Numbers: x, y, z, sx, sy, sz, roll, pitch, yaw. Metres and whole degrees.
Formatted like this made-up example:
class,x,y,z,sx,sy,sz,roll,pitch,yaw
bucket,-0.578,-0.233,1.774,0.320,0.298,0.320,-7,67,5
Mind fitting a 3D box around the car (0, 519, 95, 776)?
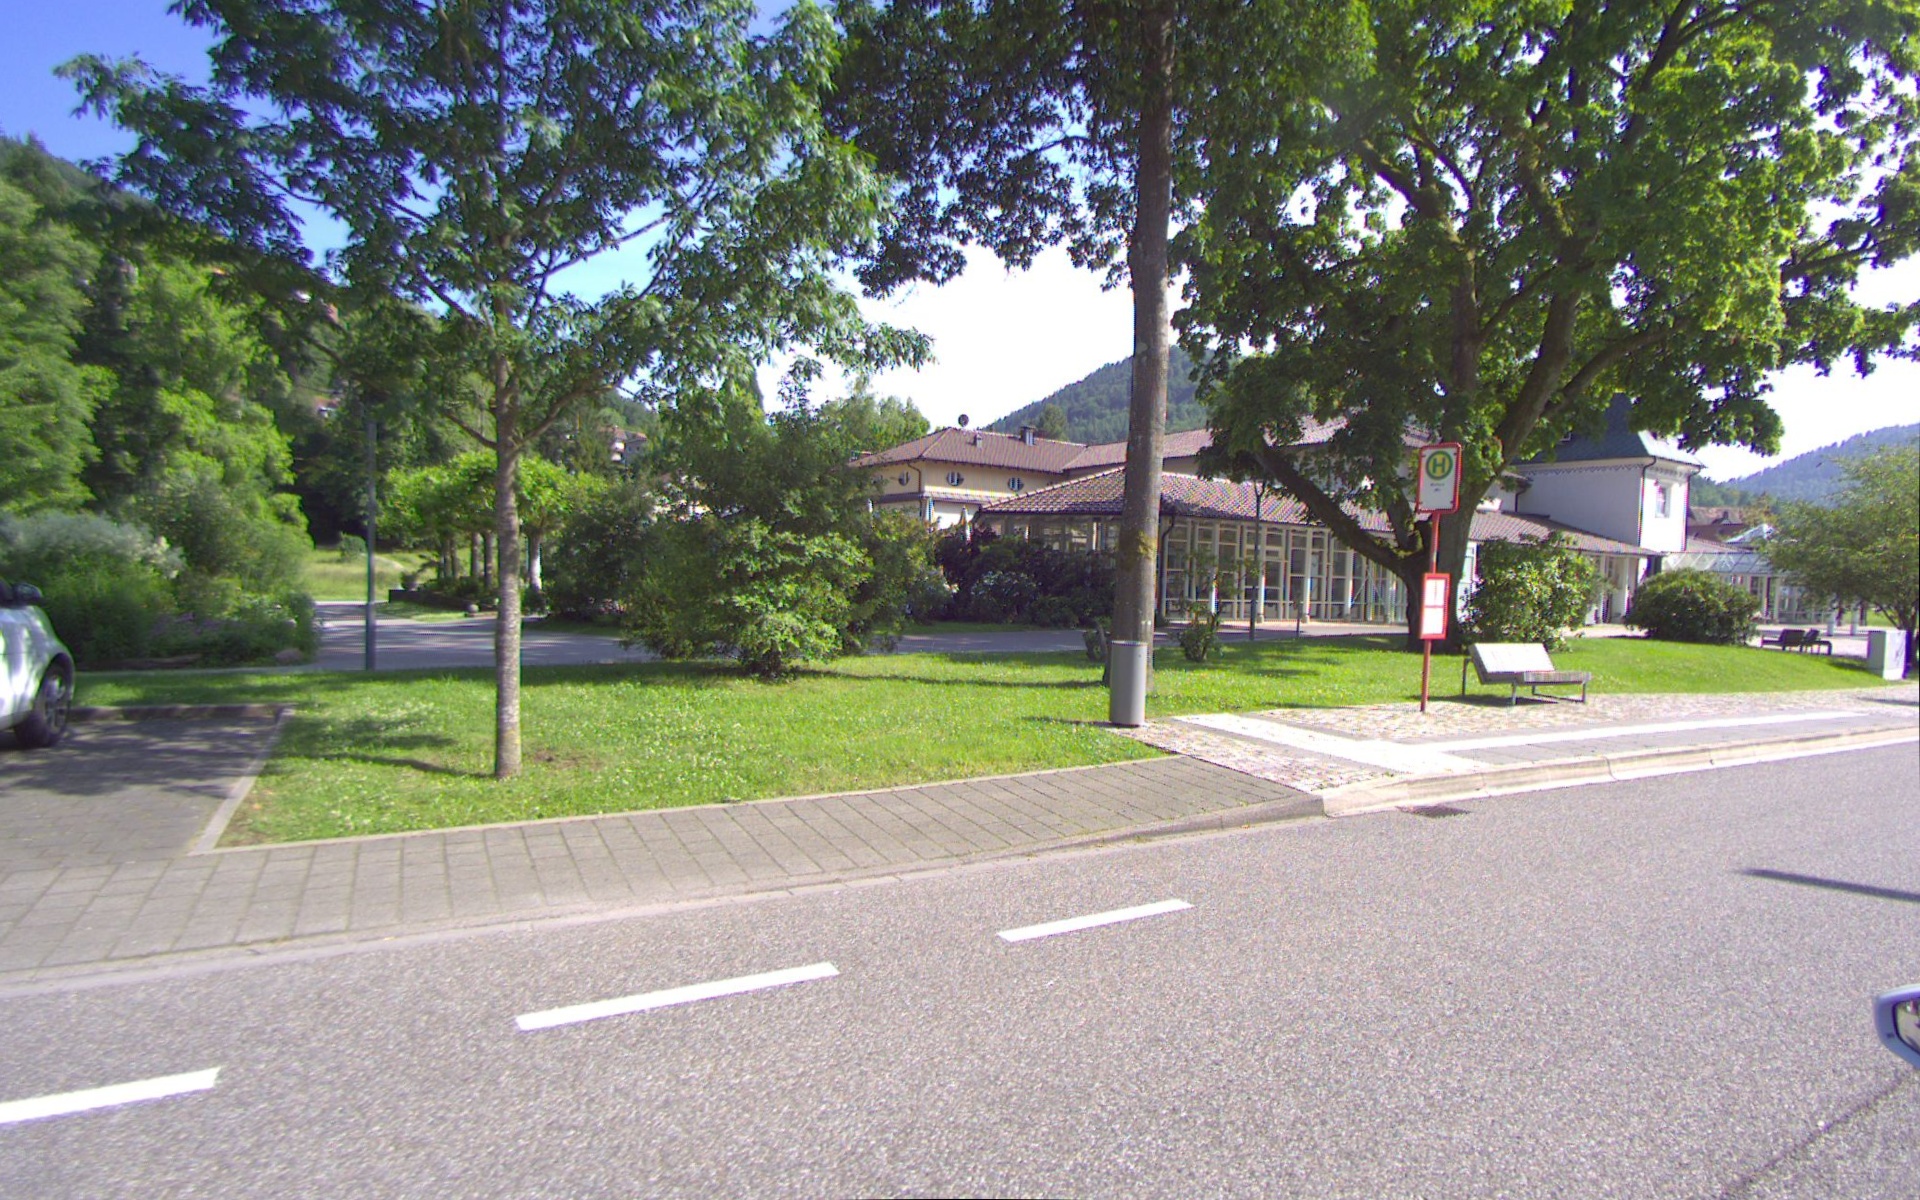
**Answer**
class,x,y,z,sx,sy,sz,roll,pitch,yaw
car,-6.727,0.278,5.962,1.658,1.567,2.644,2,3,-23
